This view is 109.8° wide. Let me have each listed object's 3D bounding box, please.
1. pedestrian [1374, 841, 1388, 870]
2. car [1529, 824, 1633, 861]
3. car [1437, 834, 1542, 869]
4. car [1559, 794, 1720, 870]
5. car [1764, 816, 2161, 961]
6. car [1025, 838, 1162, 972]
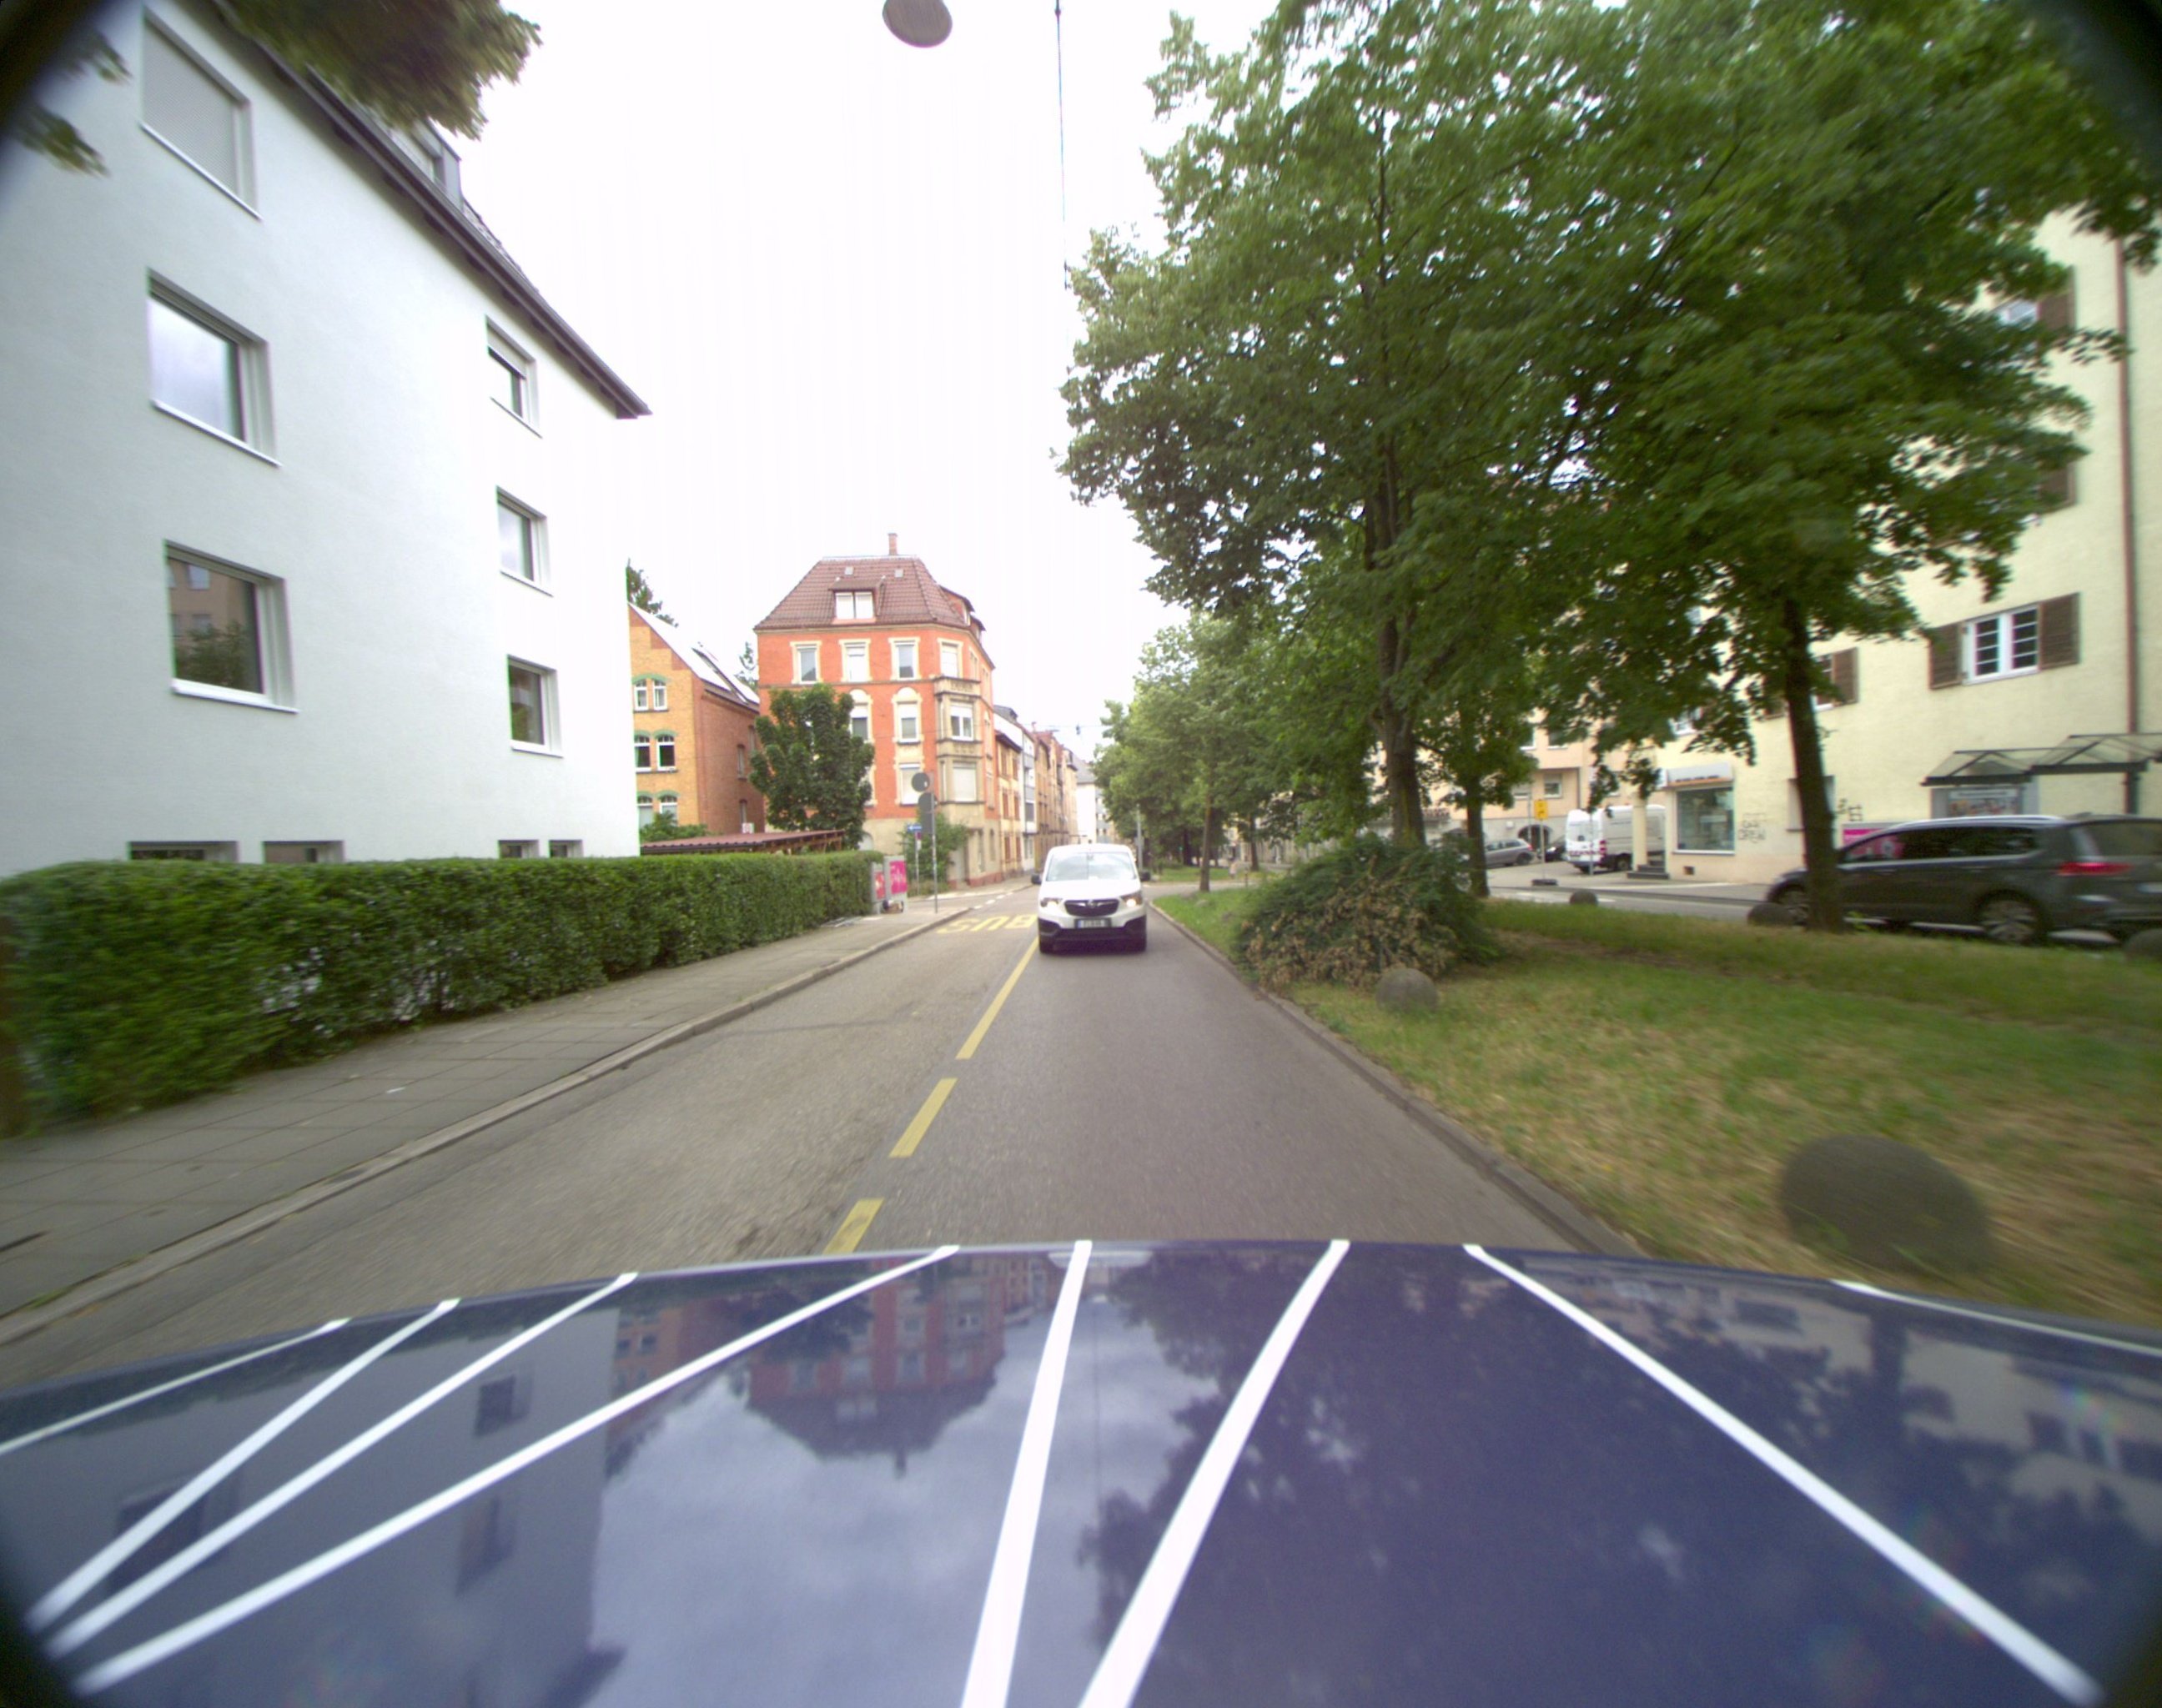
[{"bbox_3d":[17.933,0.083,45.365,0.533,1.656,0.701,-2,1,3],"label":"pedestrian"},{"bbox_3d":[25.981,-0.603,39.591,3.998,1.412,1.999,-7,1,-2],"label":"car"},{"bbox_3d":[21.300,-0.132,39.758,4.298,1.411,2.048,-5,0,3],"label":"car"},{"bbox_3d":[22.616,-0.873,30.840,5.190,2.720,2.175,-3,1,-10],"label":"car"},{"bbox_3d":[12.525,0.364,10.670,1.954,1.619,4.364,-1,0,0],"label":"car"},{"bbox_3d":[0.390,0.697,12.809,1.744,1.830,4.345,-2,0,8],"label":"car"}]
